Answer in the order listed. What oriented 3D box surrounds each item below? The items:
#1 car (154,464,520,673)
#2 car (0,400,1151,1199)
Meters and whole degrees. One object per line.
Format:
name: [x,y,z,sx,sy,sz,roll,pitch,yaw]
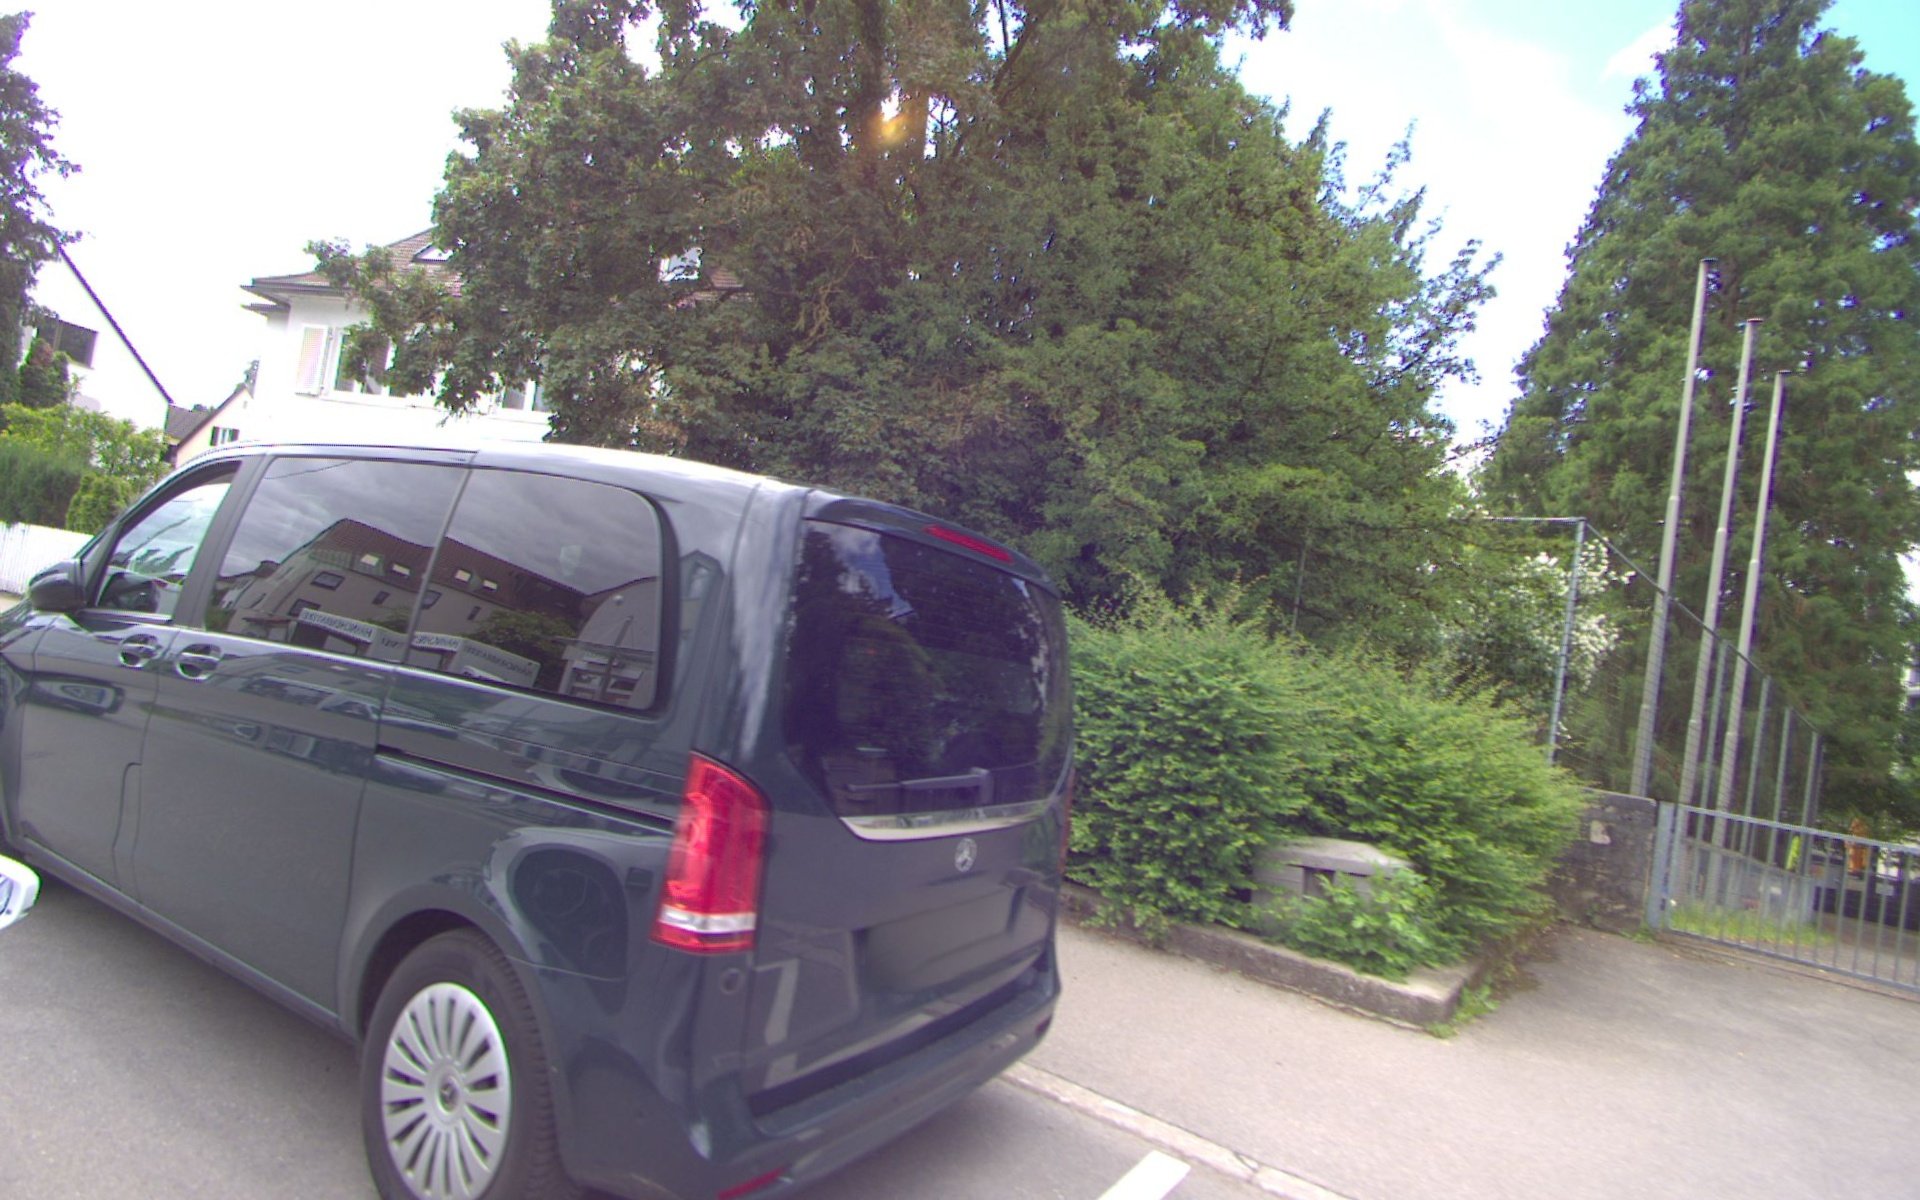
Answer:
car: [-10.890,-0.534,17.700,5.090,2.709,2.511,8,-4,20]
car: [-2.108,0.433,3.896,5.072,1.868,1.914,7,-3,31]
